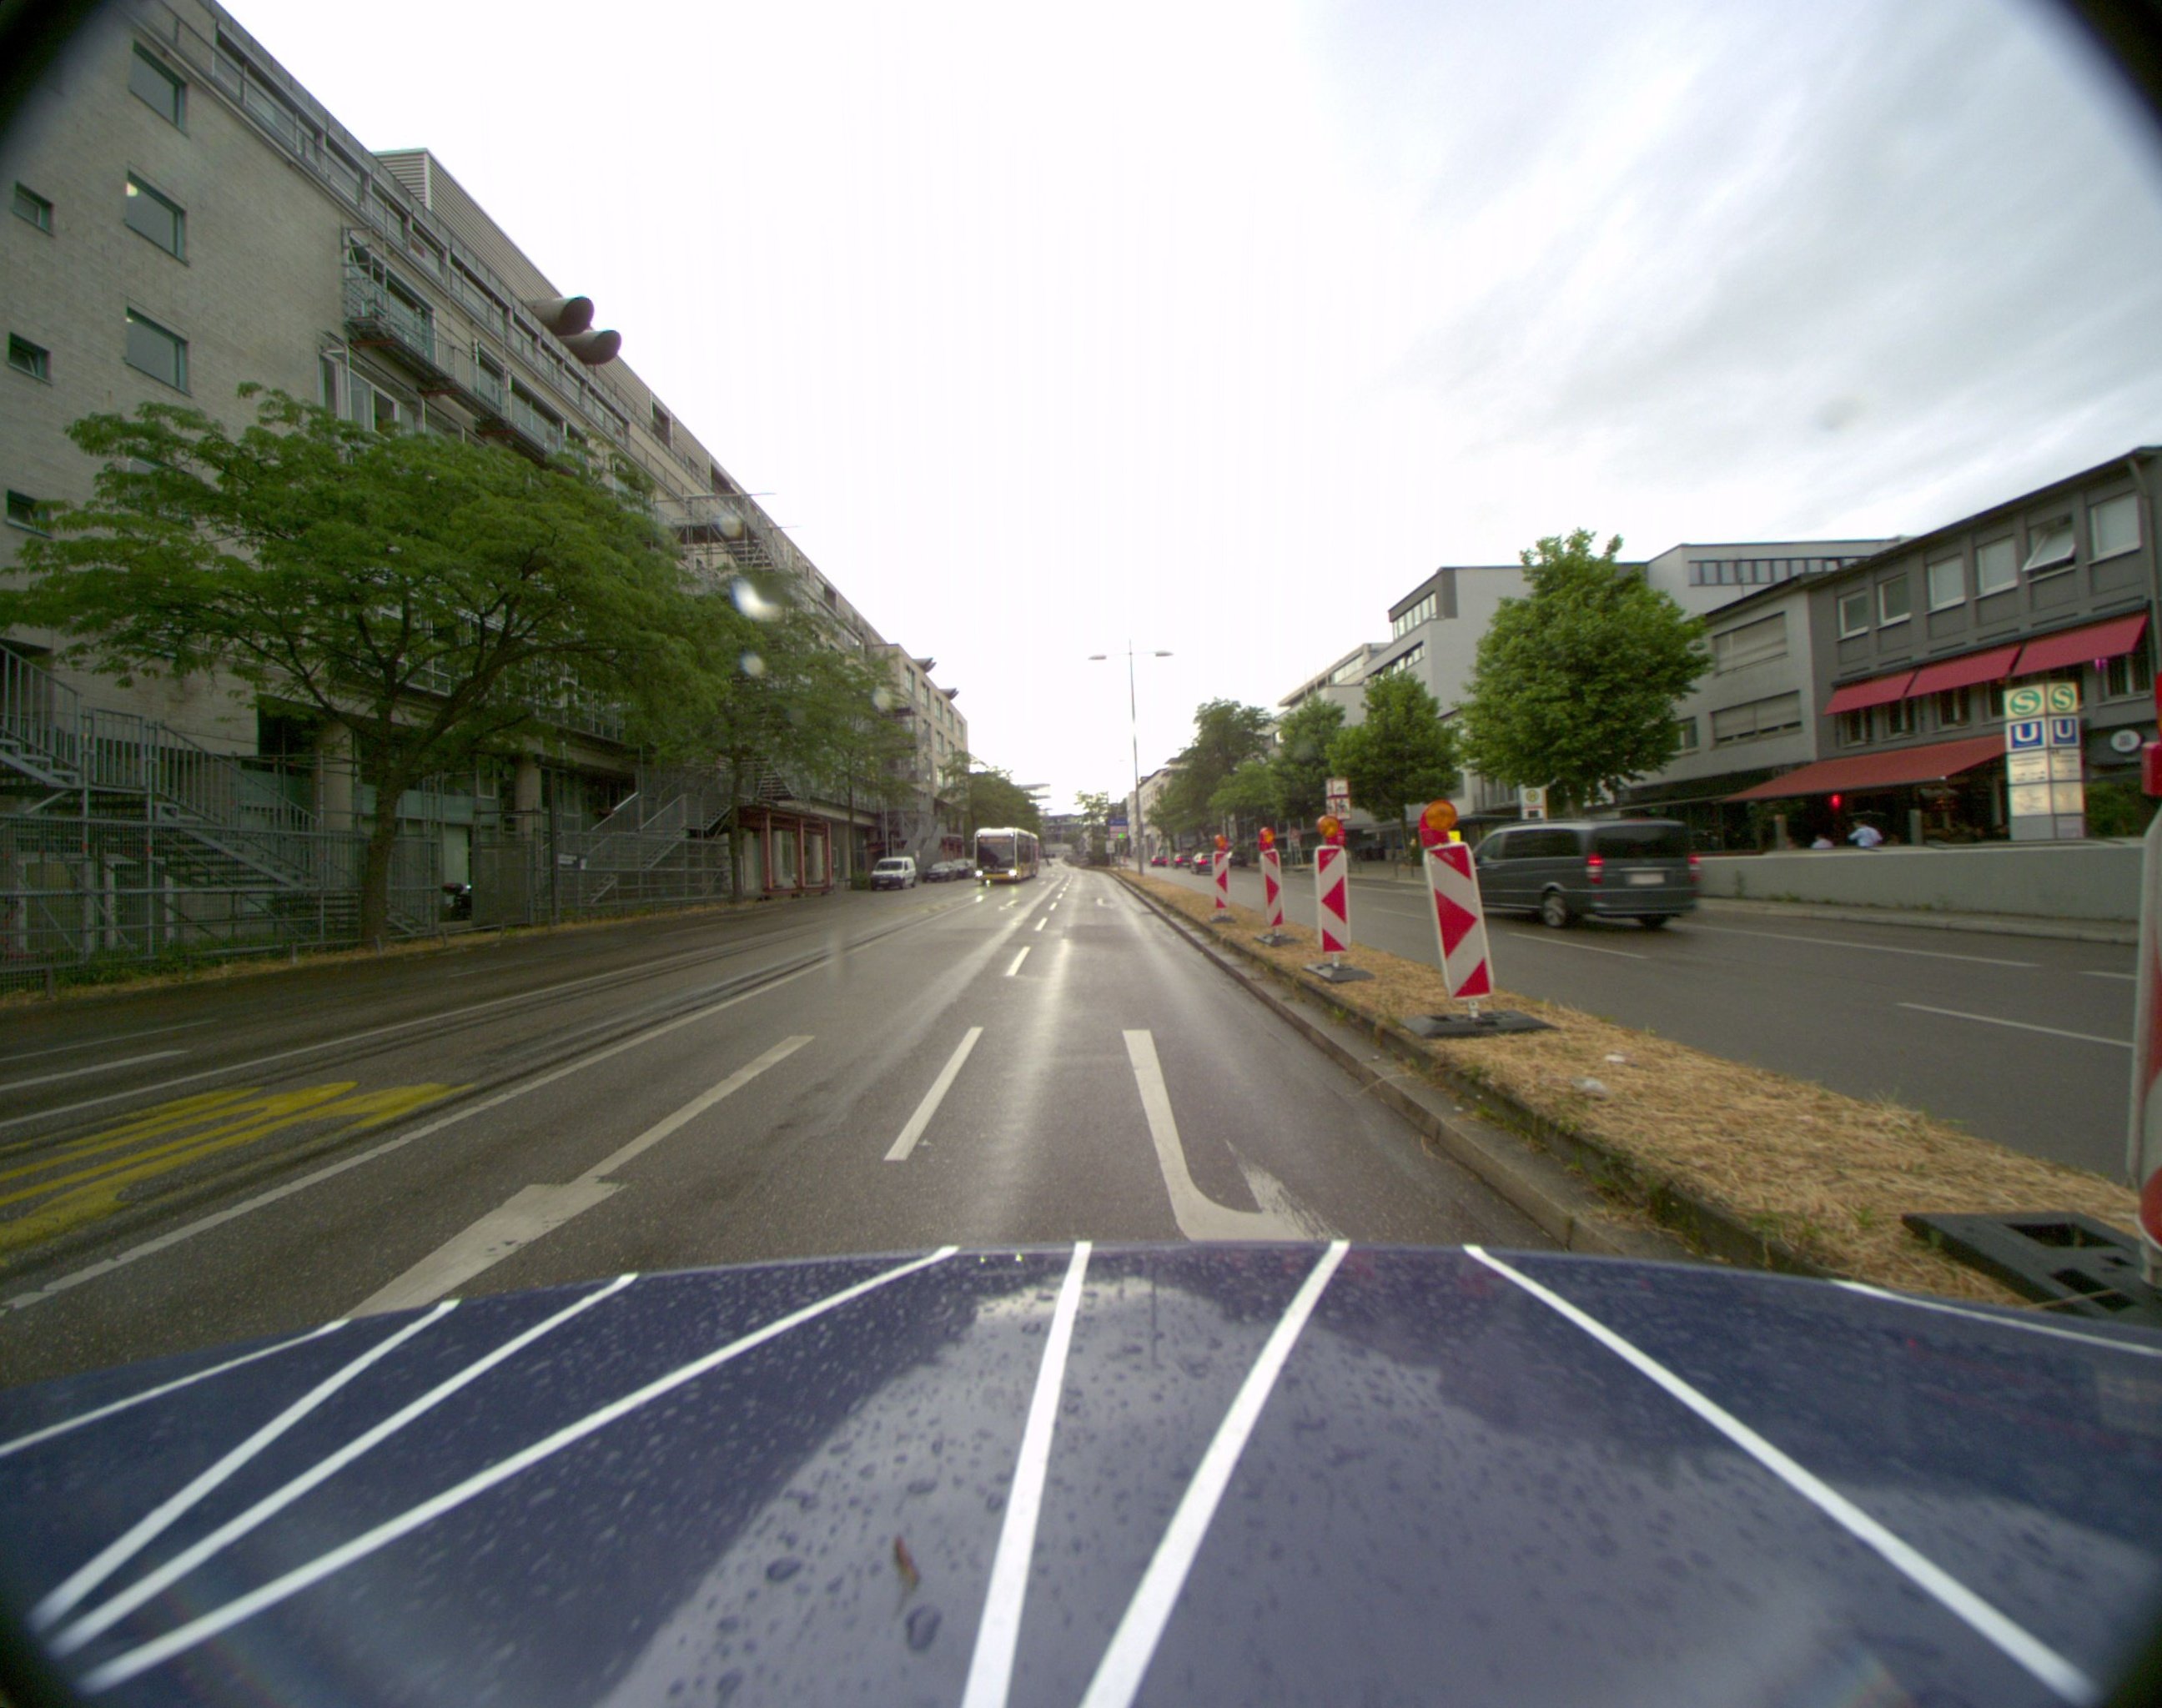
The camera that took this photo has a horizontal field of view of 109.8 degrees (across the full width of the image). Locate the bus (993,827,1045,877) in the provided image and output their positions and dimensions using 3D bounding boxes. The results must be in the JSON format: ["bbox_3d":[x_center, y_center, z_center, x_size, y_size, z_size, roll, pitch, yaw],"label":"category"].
[{"bbox_3d":[-4.588,-0.218,58.231,2.890,3.420,9.709,-2,1,1],"label":"bus"}]

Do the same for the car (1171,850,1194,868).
[{"bbox_3d":[9.974,0.558,74.739,1.691,1.421,4.217,-2,-5,1],"label":"car"}]

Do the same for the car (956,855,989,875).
[{"bbox_3d":[-9.469,0.946,66.693,2.147,1.552,4.816,-2,1,0],"label":"car"}]

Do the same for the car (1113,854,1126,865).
[{"bbox_3d":[7.032,0.993,139.386,1.999,2.002,3.999,-2,1,-2],"label":"car"}]

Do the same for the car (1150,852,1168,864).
[{"bbox_3d":[10.083,0.498,98.006,1.692,1.545,4.419,-2,0,-2],"label":"car"}]

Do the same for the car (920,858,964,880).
[{"bbox_3d":[-9.897,1.062,54.425,2.147,1.329,4.816,-2,1,0],"label":"car"}]

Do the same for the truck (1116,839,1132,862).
[{"bbox_3d":[7.098,-0.548,127.119,1.999,3.557,7.572,-2,0,-2],"label":"truck"}]

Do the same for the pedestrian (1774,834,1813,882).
[{"bbox_3d":[23.353,0.128,24.912,0.669,1.520,0.611,-2,1,3],"label":"pedestrian"}]

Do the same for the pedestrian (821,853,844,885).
[{"bbox_3d":[-16.088,0.934,49.241,1.009,2.002,1.039,-2,1,1],"label":"pedestrian"}]

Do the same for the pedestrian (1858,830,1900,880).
[{"bbox_3d":[24.988,0.037,23.796,0.669,1.520,0.611,-2,1,3],"label":"pedestrian"}]

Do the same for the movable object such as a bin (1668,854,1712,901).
[{"bbox_3d":[14.559,0.555,18.172,0.507,1.094,0.660,-2,1,-2],"label":"movable object such as a bin"}]

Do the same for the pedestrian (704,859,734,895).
[{"bbox_3d":[-18.256,1.148,38.326,1.009,1.789,0.846,-2,1,3],"label":"pedestrian"}]

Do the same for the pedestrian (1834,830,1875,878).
[{"bbox_3d":[24.949,-0.010,24.519,0.669,1.520,0.611,-2,1,4],"label":"pedestrian"}]

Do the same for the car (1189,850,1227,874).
[{"bbox_3d":[8.621,0.541,51.892,1.692,1.501,4.290,-2,0,-2],"label":"car"}]

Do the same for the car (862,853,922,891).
[{"bbox_3d":[-10.532,0.937,42.660,2.213,1.895,4.329,-2,1,0],"label":"car"}]

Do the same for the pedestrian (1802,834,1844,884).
[{"bbox_3d":[23.138,0.144,23.708,0.669,1.520,0.611,-2,1,3],"label":"pedestrian"}]

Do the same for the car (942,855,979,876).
[{"bbox_3d":[-9.632,0.901,61.221,2.147,1.486,4.816,-2,1,0],"label":"car"}]

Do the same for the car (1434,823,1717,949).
[{"bbox_3d":[9.004,0.434,14.519,1.999,1.916,4.962,-2,2,-3],"label":"car"}]

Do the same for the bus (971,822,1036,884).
[{"bbox_3d":[-4.749,-0.108,48.507,2.890,3.430,9.756,-2,1,1],"label":"bus"}]
